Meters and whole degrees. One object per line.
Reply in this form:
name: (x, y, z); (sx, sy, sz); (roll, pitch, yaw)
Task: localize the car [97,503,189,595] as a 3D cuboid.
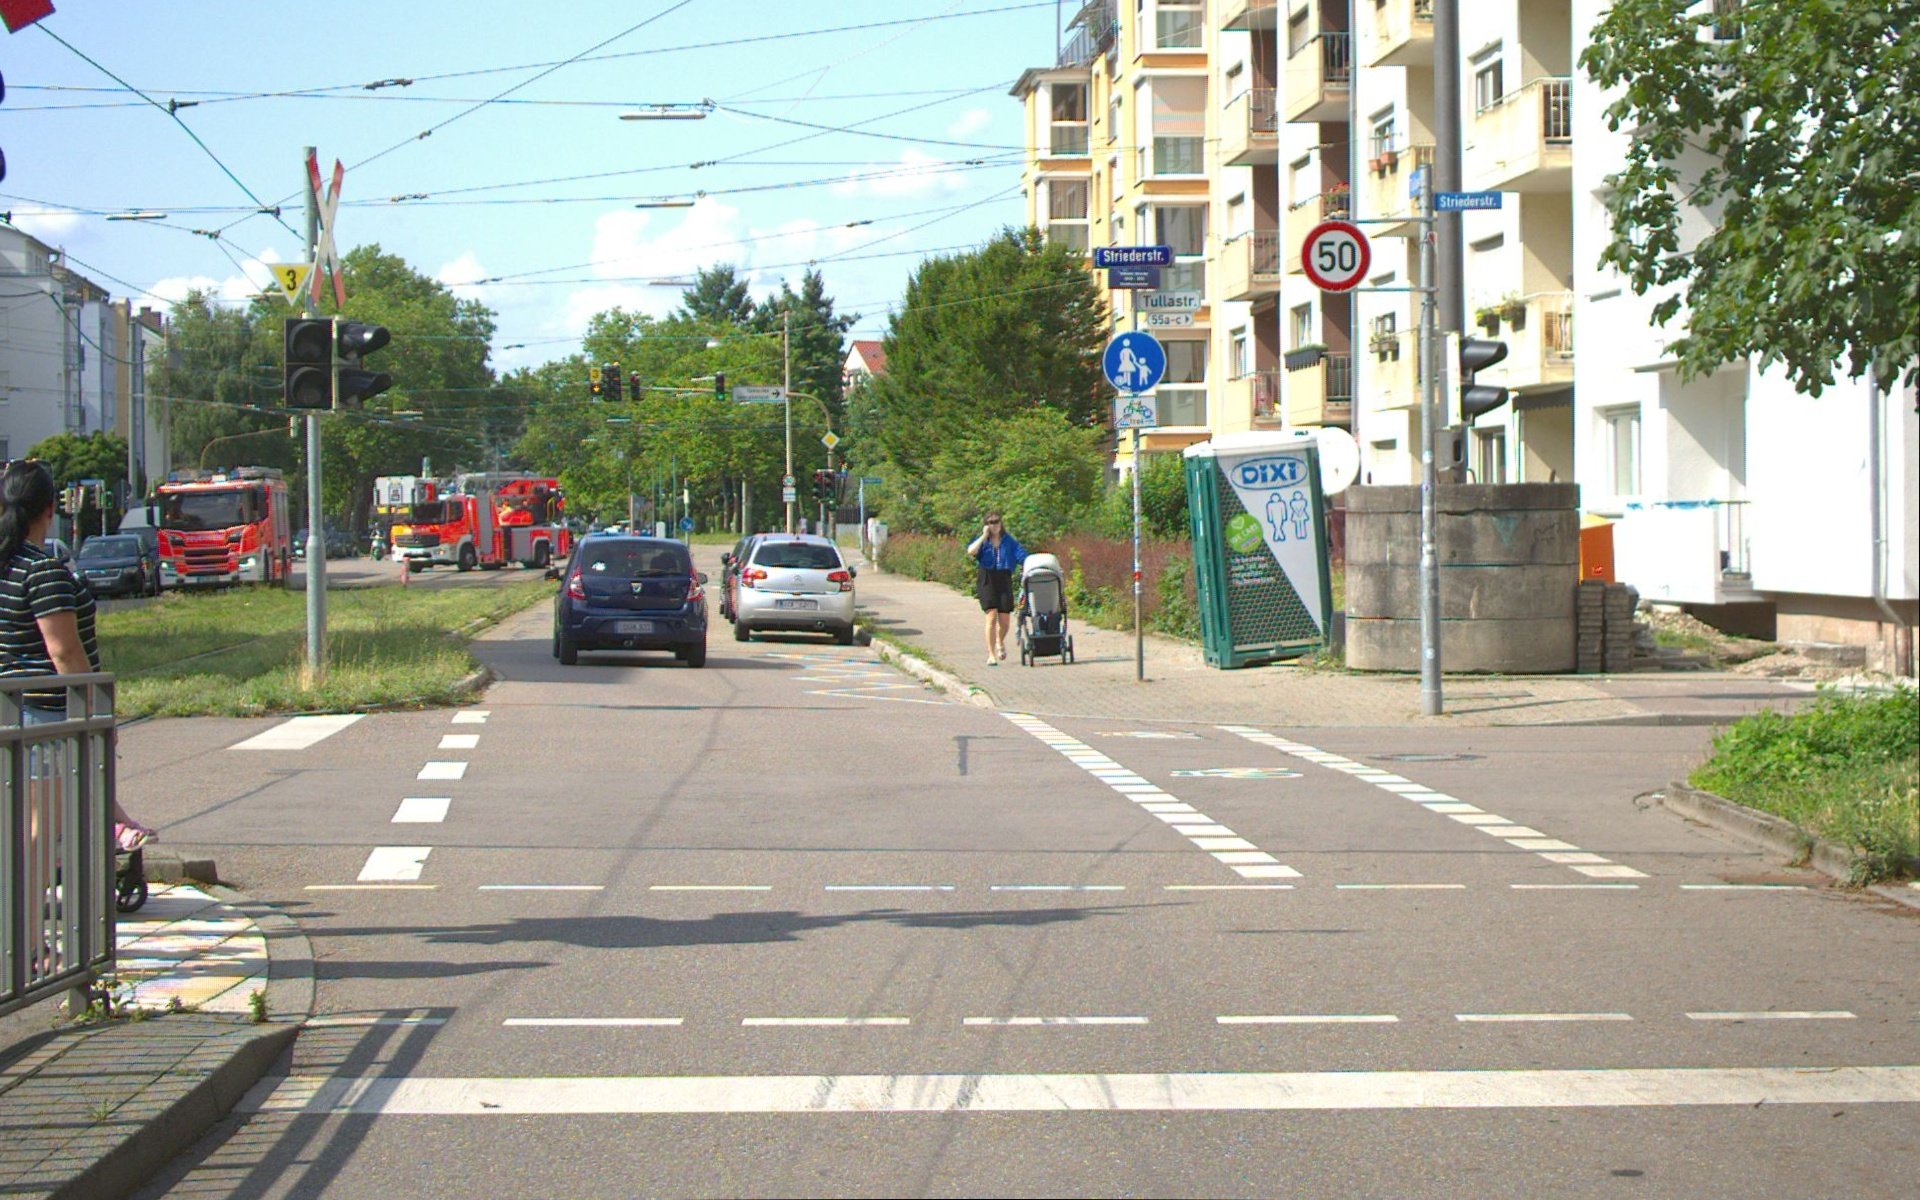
car: (-22.106, -1.386, 93.112); (1.776, 2.391, 4.696); (1, 1, -6)

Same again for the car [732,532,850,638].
car: (-2.456, -0.234, 49.827); (1.622, 1.460, 3.511); (1, 1, -3)

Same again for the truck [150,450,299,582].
truck: (-18.640, -2.114, 87.580); (2.596, 3.175, 8.384); (0, 1, -4)

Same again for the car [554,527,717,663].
car: (-3.826, -0.086, 41.027); (1.743, 1.502, 4.001); (1, 1, -3)

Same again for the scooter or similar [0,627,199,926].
scooter or similar: (-3.420, 0.636, 12.675); (1.100, 1.052, 0.651); (1, 1, -4)

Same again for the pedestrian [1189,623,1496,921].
pedestrian: (2.868, 1.244, 26.589); (1.993, 2.007, 4.000); (1, 1, 2)

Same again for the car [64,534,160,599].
car: (-21.375, -0.860, 86.814); (1.776, 1.551, 4.001); (1, 1, -6)

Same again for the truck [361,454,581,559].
truck: (-17.004, -3.206, 120.466); (2.670, 3.458, 10.155); (1, 1, 23)

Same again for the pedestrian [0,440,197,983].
pedestrian: (-2.925, 0.337, 10.972); (0.845, 1.662, 0.799); (-1, 1, -19)

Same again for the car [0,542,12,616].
car: (-19.493, -0.413, 65.949); (1.768, 1.437, 4.001); (1, 1, -4)

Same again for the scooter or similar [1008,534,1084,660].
scooter or similar: (0.932, -0.041, 37.403); (0.662, 1.299, 0.869); (-4, 2, -4)

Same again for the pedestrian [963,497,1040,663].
pedestrian: (0.452, -0.233, 38.258); (0.701, 1.783, 1.030); (-3, 1, -2)
